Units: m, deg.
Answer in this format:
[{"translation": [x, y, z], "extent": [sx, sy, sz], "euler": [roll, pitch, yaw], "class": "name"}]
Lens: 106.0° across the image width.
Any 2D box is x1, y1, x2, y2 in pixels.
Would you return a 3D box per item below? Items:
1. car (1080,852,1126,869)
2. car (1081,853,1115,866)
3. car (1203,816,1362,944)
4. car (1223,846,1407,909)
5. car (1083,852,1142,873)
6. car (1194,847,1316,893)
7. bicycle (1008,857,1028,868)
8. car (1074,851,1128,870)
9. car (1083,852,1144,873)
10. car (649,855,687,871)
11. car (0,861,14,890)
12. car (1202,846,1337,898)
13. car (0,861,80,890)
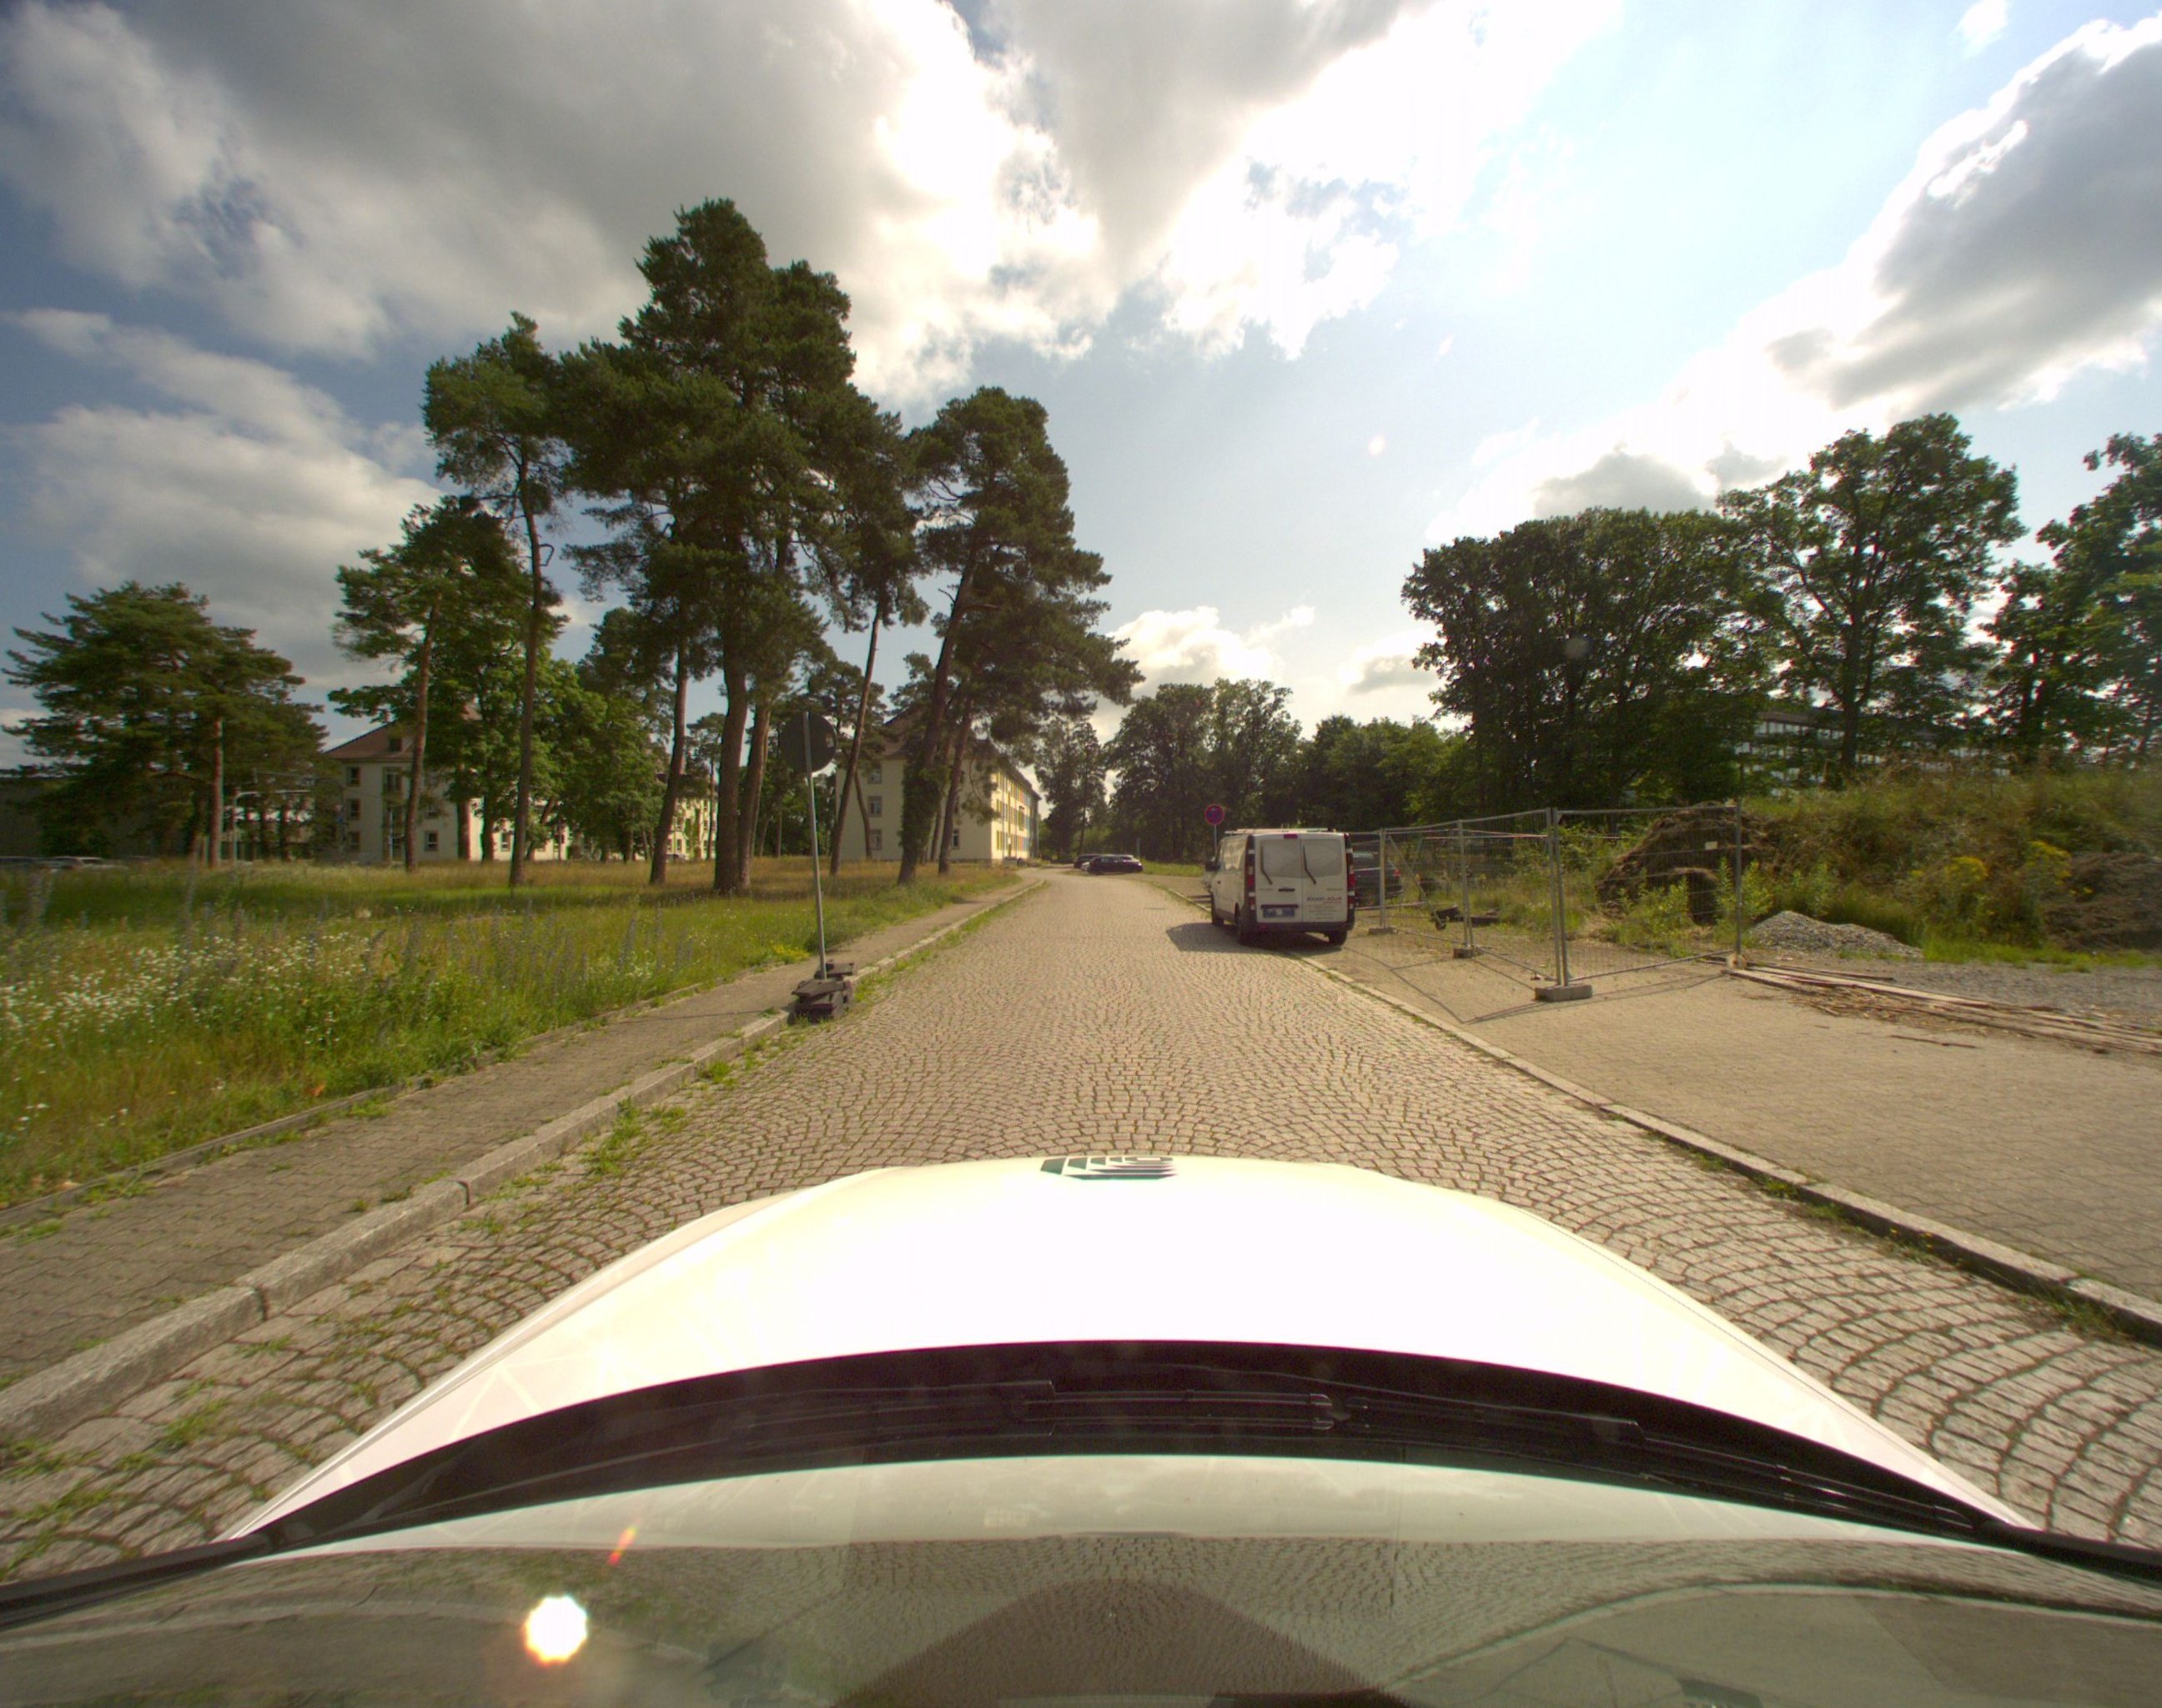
[{"translation": [2.079, 0.668, 79.199], "extent": [4.385, 1.484, 1.765], "euler": [-2, -1, -1], "class": "car"}, {"translation": [2.163, 0.717, 102.016], "extent": [4.170, 1.543, 1.821], "euler": [-2, -1, 2], "class": "car"}, {"translation": [3.695, 0.437, 16.085], "extent": [1.906, 2.053, 5.681], "euler": [-1, 0, 2], "class": "car"}, {"translation": [6.270, 0.611, 22.091], "extent": [4.444, 1.475, 1.743], "euler": [-2, 0, -4], "class": "car"}, {"translation": [2.464, 0.647, 63.422], "extent": [4.321, 1.500, 1.825], "euler": [-2, 1, -8], "class": "car"}, {"translation": [6.309, 0.579, 29.722], "extent": [4.031, 1.464, 1.703], "euler": [-2, 0, -2], "class": "car"}, {"translation": [-7.052, 0.937, 90.987], "extent": [2.213, 1.260, 0.623], "euler": [-1, -1, 3], "class": "bicycle"}, {"translation": [1.779, 0.611, 73.887], "extent": [4.838, 1.552, 1.879], "euler": [-2, -1, -1], "class": "car"}, {"translation": [2.626, 0.671, 66.535], "extent": [4.848, 1.472, 1.874], "euler": [-2, 1, -1], "class": "car"}, {"translation": [-54.455, 1.134, 107.355], "extent": [4.044, 1.991, 1.713], "euler": [-1, 0, 1], "class": "car"}, {"translation": [-51.114, 1.015, 36.466], "extent": [4.053, 1.320, 1.900], "euler": [-1, 0, -1], "class": "car"}, {"translation": [6.106, 0.573, 26.663], "extent": [3.976, 1.507, 1.745], "euler": [-2, 0, -2], "class": "car"}, {"translation": [-50.977, 1.029, 38.844], "extent": [4.053, 1.309, 1.900], "euler": [-1, 0, -1], "class": "car"}]
